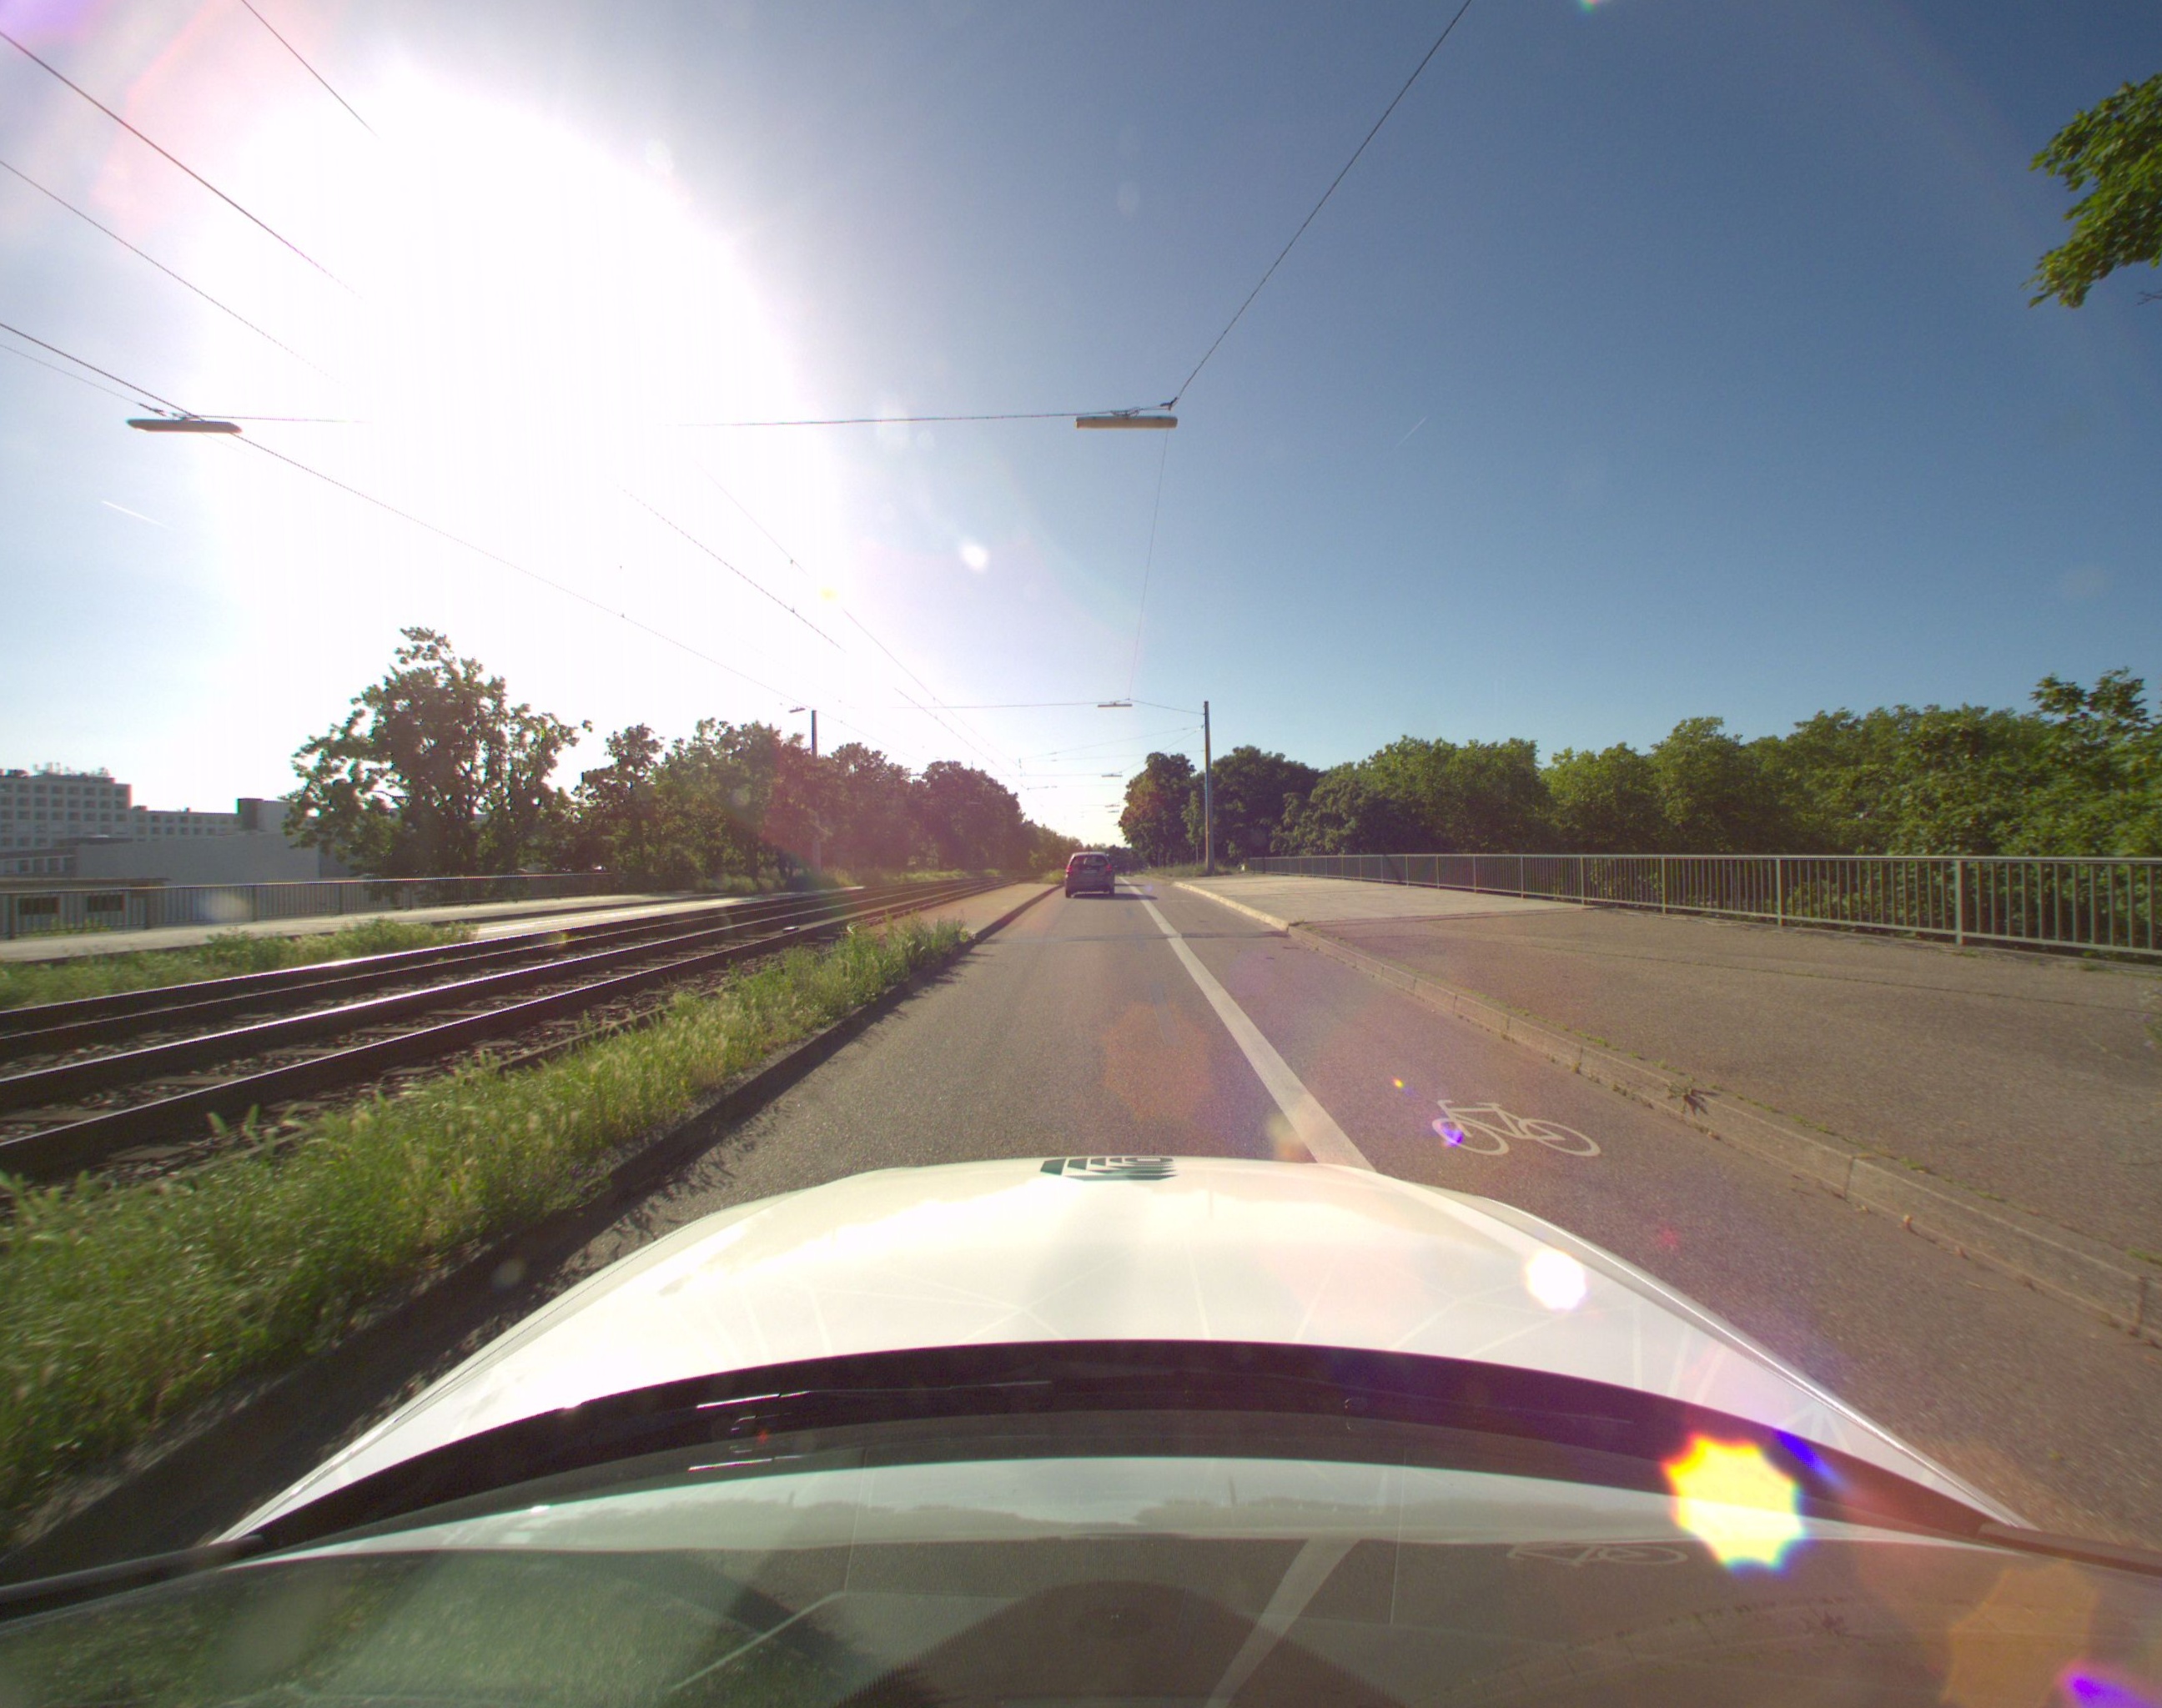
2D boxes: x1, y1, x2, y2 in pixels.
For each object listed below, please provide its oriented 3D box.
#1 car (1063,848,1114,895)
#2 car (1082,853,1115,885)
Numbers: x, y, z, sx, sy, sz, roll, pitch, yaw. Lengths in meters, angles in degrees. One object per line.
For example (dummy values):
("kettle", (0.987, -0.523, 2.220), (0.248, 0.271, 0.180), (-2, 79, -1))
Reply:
("car", (0.322, 0.575, 28.627), (1.663, 1.507, 3.814), (0, 1, 2))
("car", (0.944, 0.749, 42.705), (1.648, 1.507, 3.814), (0, 1, 2))
